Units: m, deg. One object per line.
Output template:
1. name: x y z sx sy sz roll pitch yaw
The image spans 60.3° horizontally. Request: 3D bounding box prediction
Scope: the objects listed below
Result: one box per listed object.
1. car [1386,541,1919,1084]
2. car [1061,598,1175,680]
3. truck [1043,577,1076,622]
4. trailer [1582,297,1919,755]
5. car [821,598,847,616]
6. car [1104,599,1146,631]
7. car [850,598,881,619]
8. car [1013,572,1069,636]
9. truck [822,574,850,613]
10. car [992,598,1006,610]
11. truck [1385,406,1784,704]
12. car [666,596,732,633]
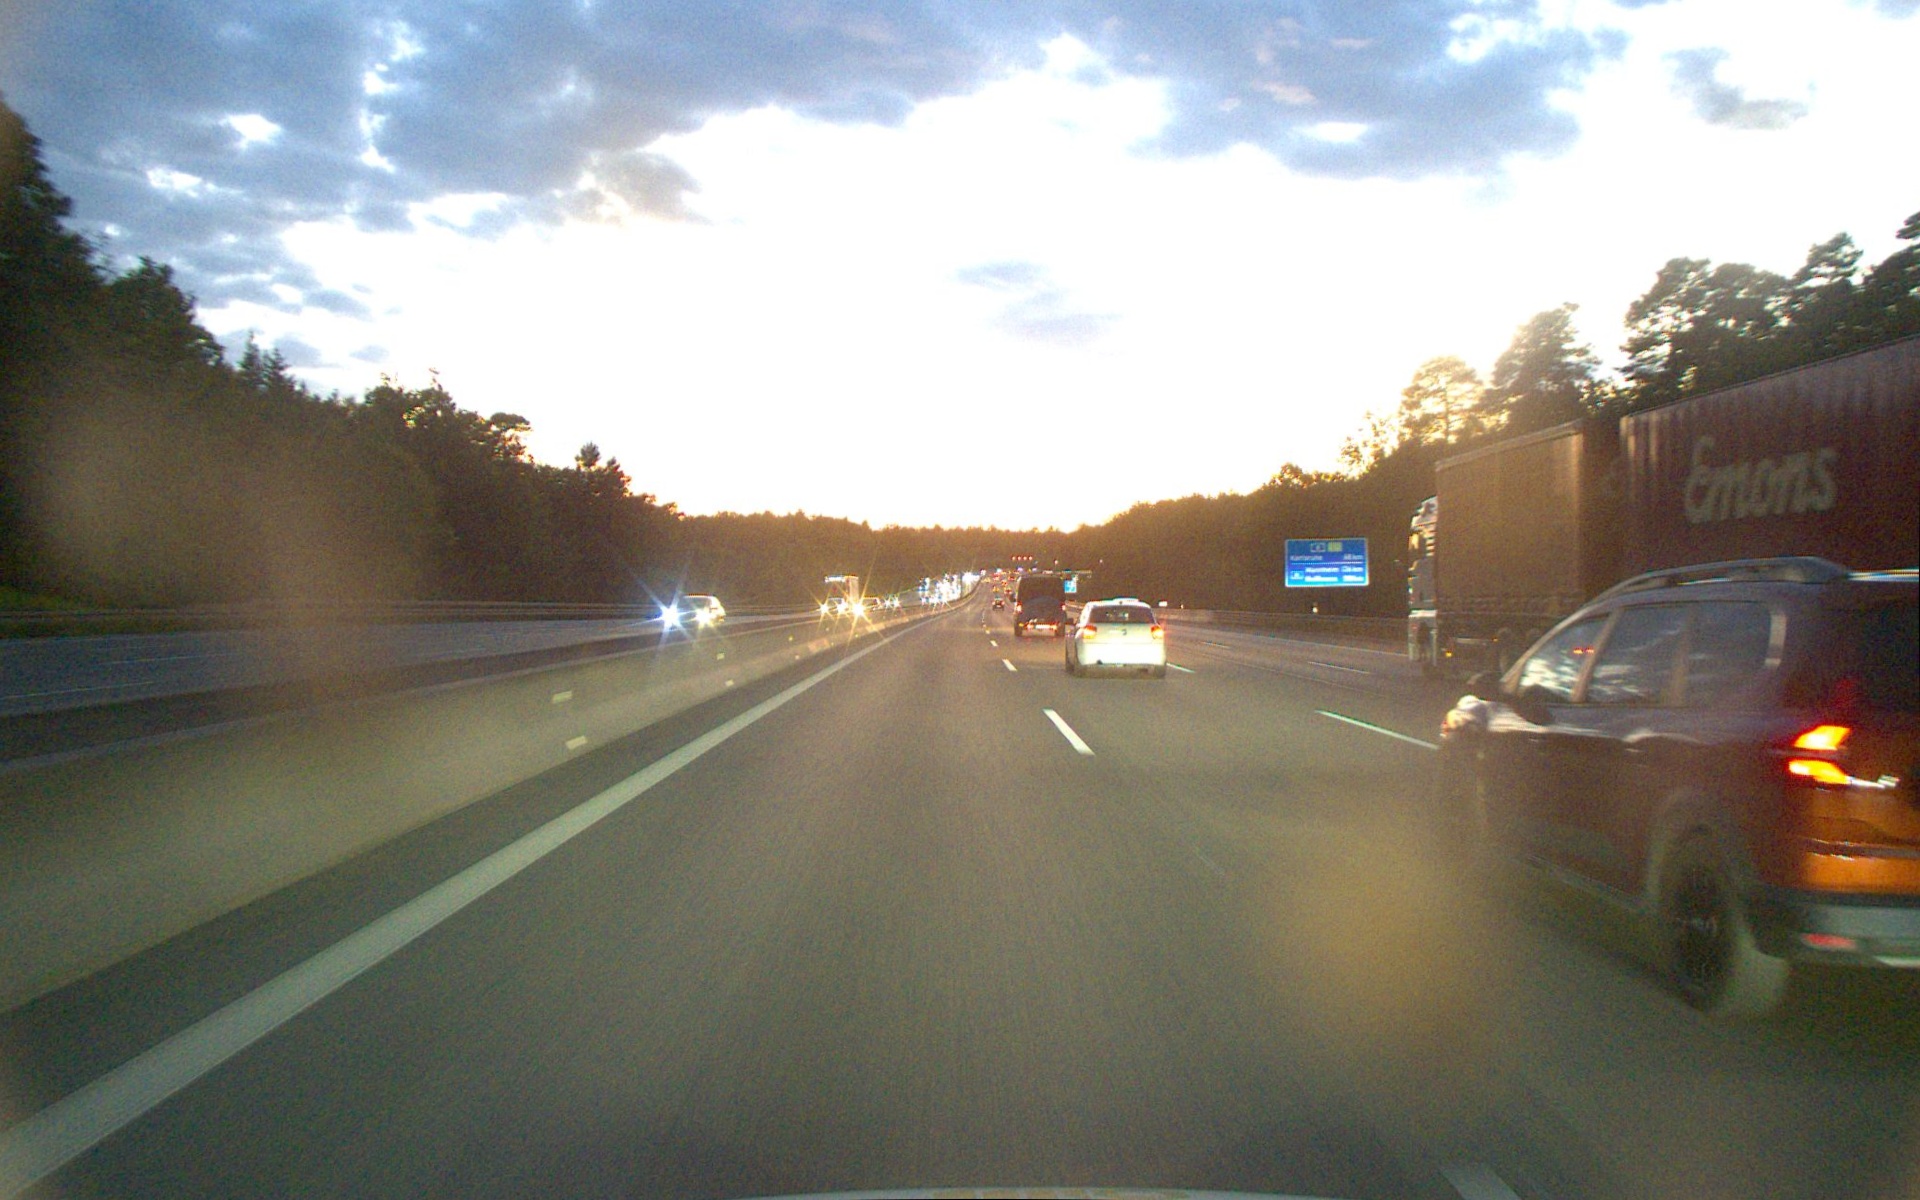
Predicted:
1. car: 3.595 0.645 7.650 1.864 1.672 5.051 0 0 -1
2. car: 3.022 0.719 32.324 1.821 1.467 3.720 0 0 -1
3. truck: 13.756 -0.062 229.610 4.063 5.959 14.299 0 0 2
4. trailer: 10.162 -0.666 18.061 2.847 4.172 10.357 0 0 0
5. car: -10.489 0.601 137.865 1.740 1.426 4.939 1 0 0
6. car: 8.398 0.747 84.268 1.966 1.565 4.002 0 0 3
7. car: -6.863 0.610 120.267 1.953 1.426 4.687 1 0 0
8. car: 3.257 0.174 66.222 2.120 2.461 5.566 0 0 3
9. truck: -13.631 -0.693 181.929 2.596 4.204 6.523 0 0 0
10. car: 5.339 0.579 227.657 1.798 1.598 4.002 0 0 3
11. truck: 10.175 -0.630 28.659 2.826 4.172 10.831 0 0 0
12. car: -10.814 0.582 68.867 1.719 1.454 5.364 1 0 1
